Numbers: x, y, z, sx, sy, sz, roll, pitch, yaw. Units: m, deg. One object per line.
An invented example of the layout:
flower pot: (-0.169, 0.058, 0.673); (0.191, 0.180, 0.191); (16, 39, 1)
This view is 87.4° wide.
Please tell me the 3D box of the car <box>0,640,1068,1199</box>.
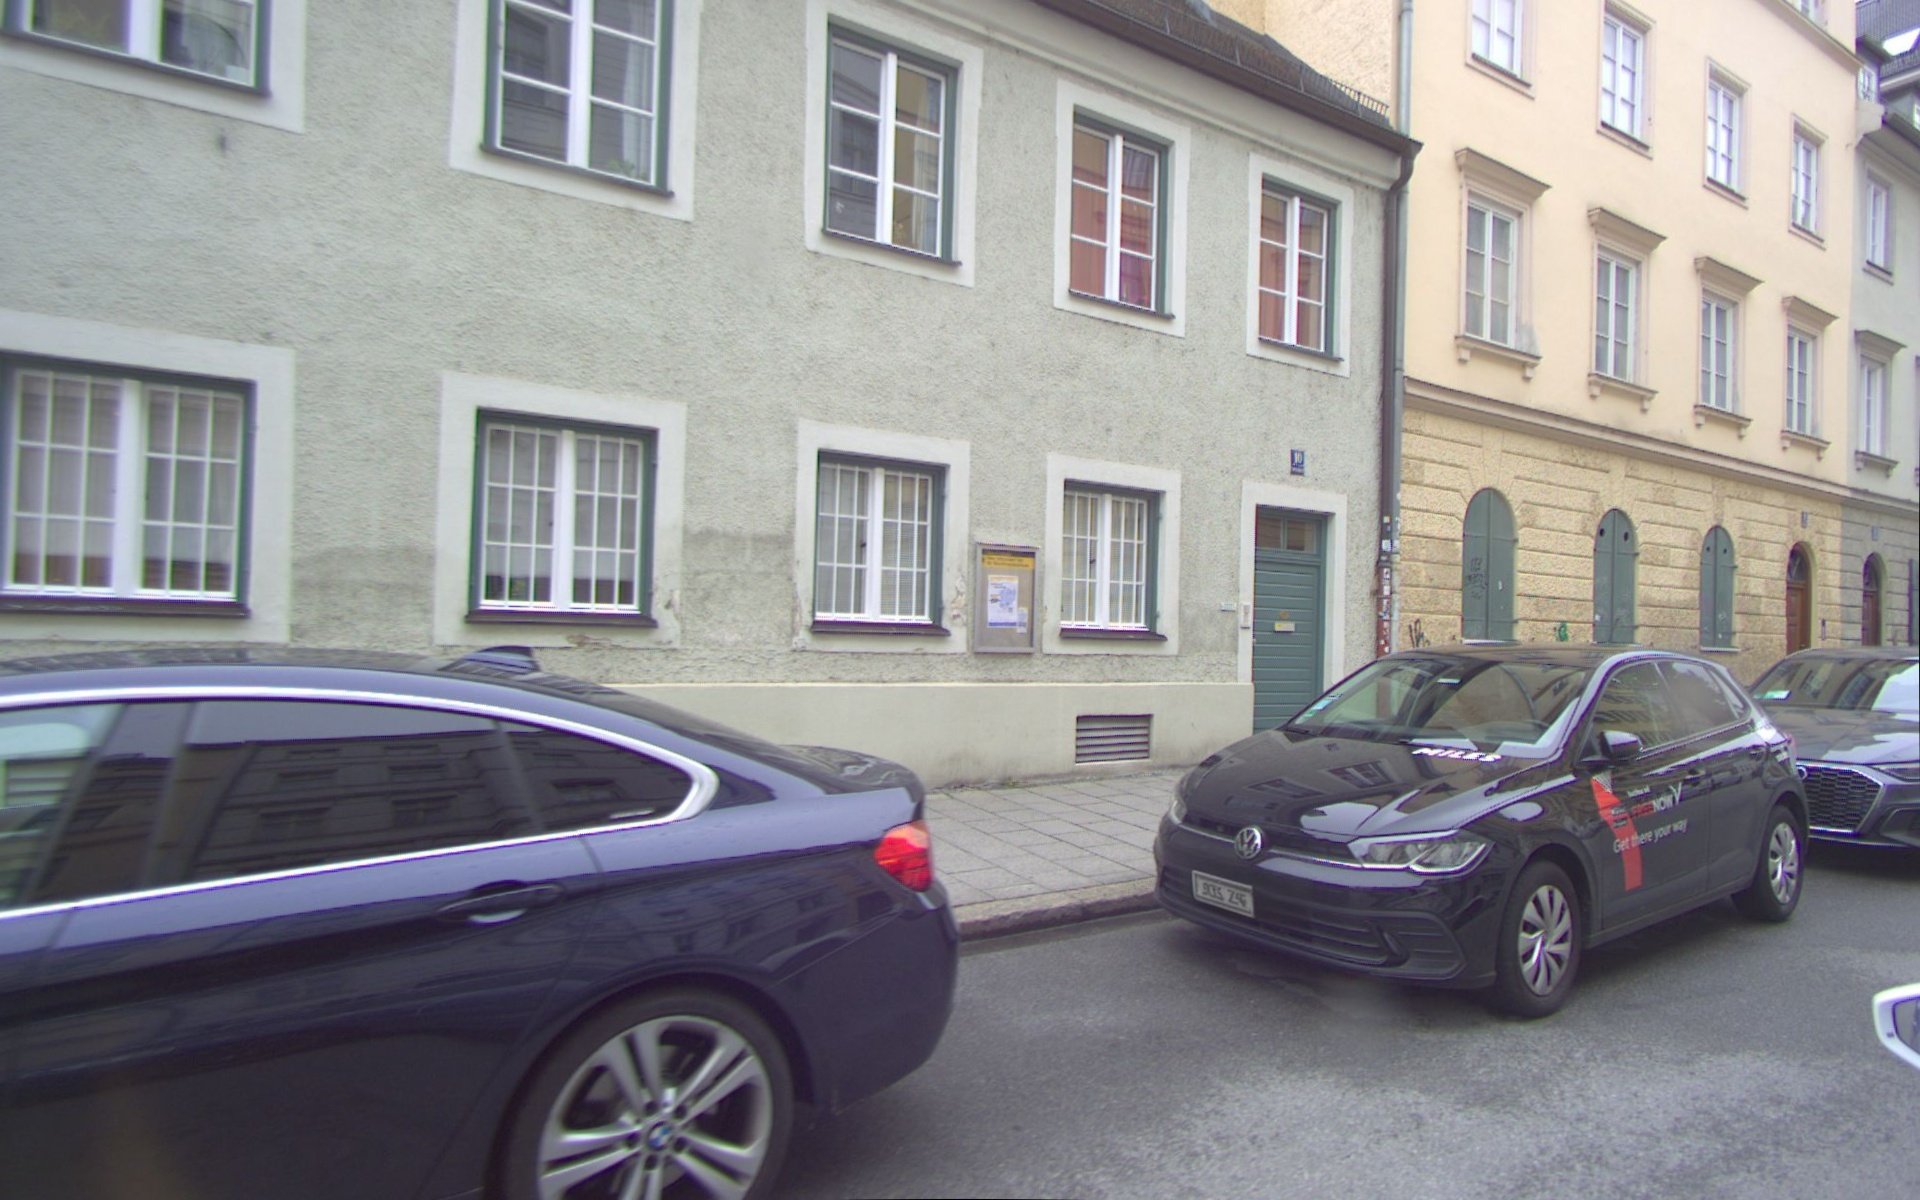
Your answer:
car: (-2.139, 0.805, 2.310); (4.632, 1.357, 1.789); (1, -1, -31)

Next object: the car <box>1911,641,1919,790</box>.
car: (11.368, 1.173, 10.025); (4.057, 1.427, 1.745); (2, -1, -32)

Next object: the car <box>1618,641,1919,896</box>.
car: (6.894, 1.048, 7.570); (4.088, 1.460, 1.805); (2, -2, -34)

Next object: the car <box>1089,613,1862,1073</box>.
car: (2.837, 0.883, 5.228); (4.155, 1.516, 1.744); (2, -1, -33)
